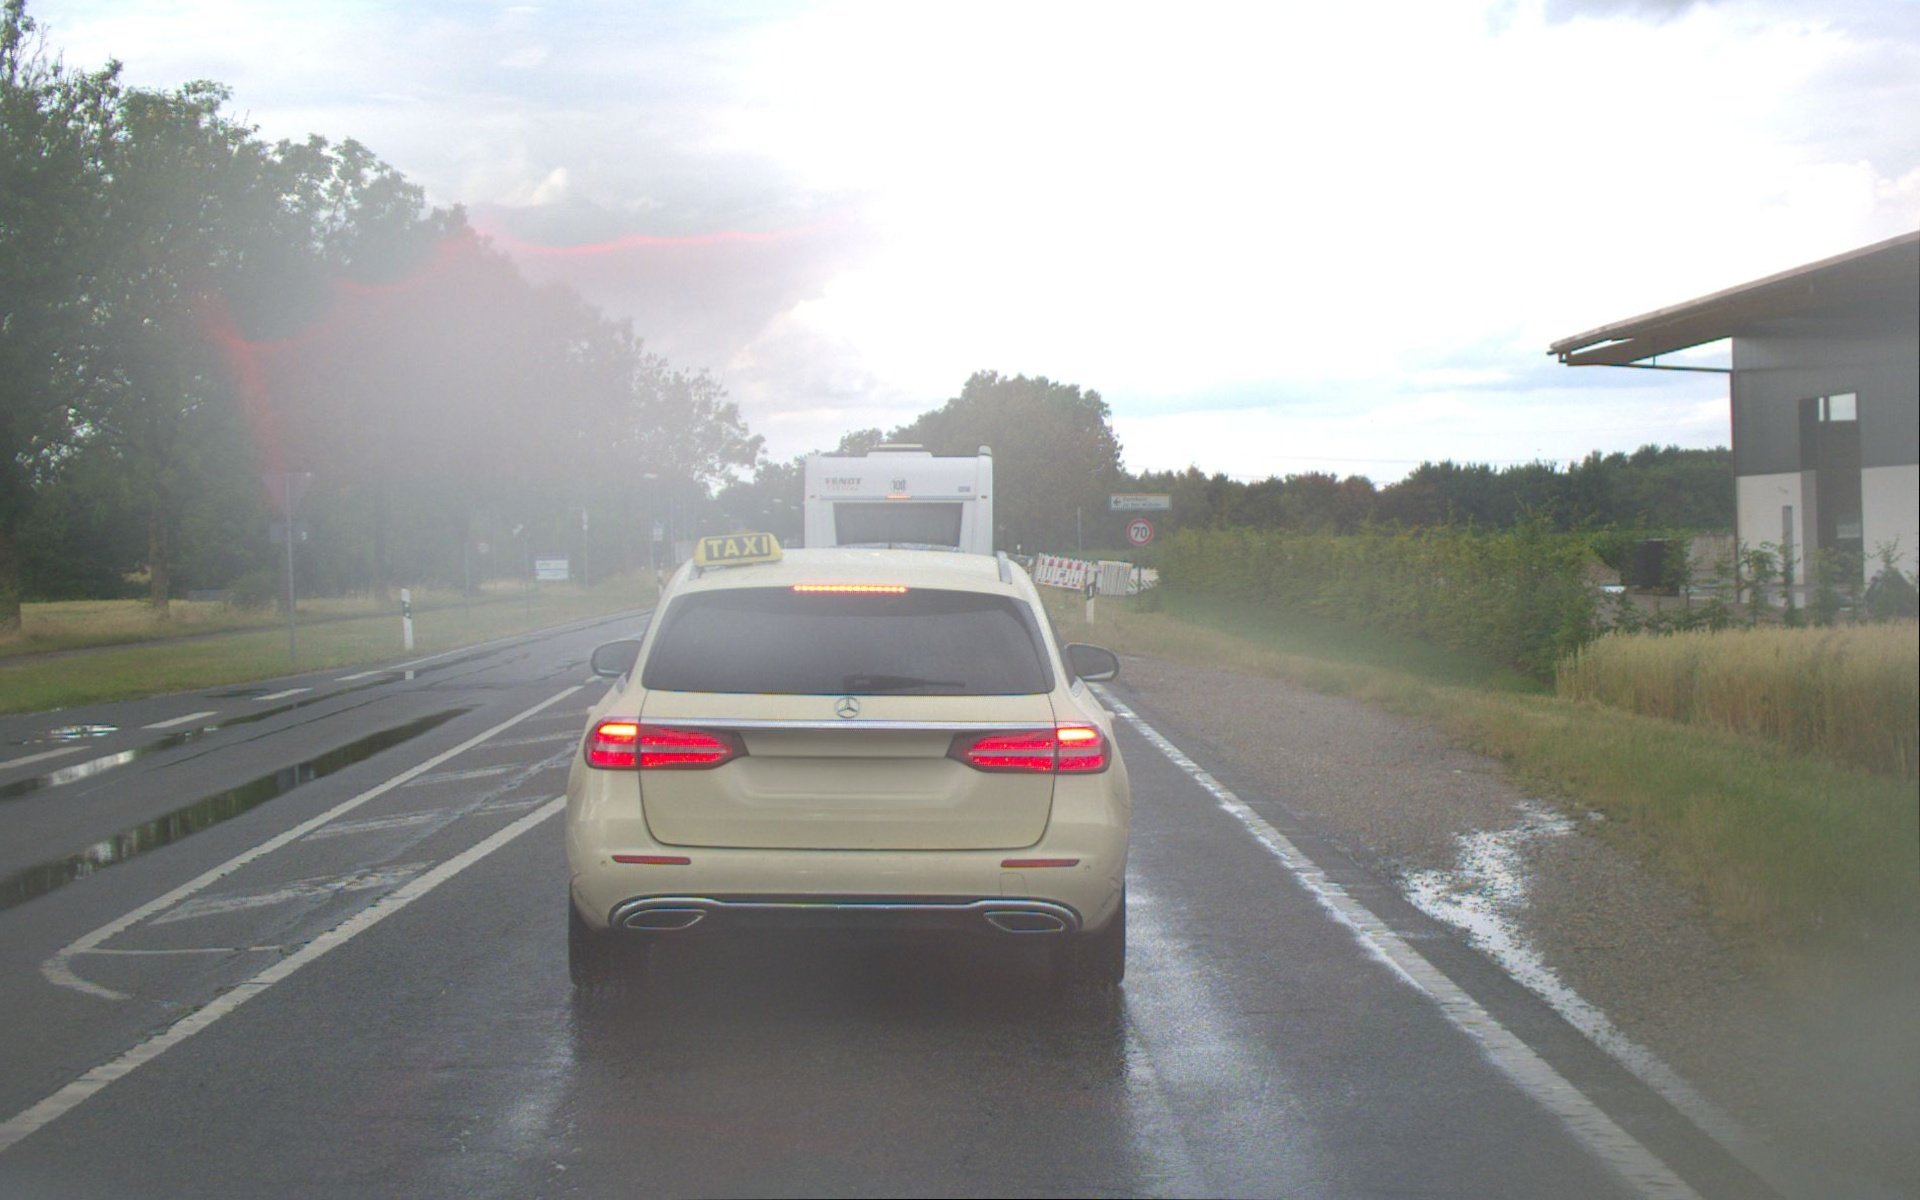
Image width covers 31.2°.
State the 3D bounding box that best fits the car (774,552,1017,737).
[{"bbox_3d":[-0.547,0.319,28.829,1.894,1.424,3.928,0,1,-1],"label":"car"}]

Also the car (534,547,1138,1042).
[{"bbox_3d":[-0.381,0.549,12.281,1.797,1.459,4.031,0,1,0],"label":"car"}]

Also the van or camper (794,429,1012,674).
[{"bbox_3d":[-0.669,-0.621,43.681,2.497,2.821,5.934,-2,1,0],"label":"van or camper"}]

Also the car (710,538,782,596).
[{"bbox_3d":[-6.477,-1.021,104.413,1.916,1.626,4.357,-2,1,-1],"label":"car"}]
